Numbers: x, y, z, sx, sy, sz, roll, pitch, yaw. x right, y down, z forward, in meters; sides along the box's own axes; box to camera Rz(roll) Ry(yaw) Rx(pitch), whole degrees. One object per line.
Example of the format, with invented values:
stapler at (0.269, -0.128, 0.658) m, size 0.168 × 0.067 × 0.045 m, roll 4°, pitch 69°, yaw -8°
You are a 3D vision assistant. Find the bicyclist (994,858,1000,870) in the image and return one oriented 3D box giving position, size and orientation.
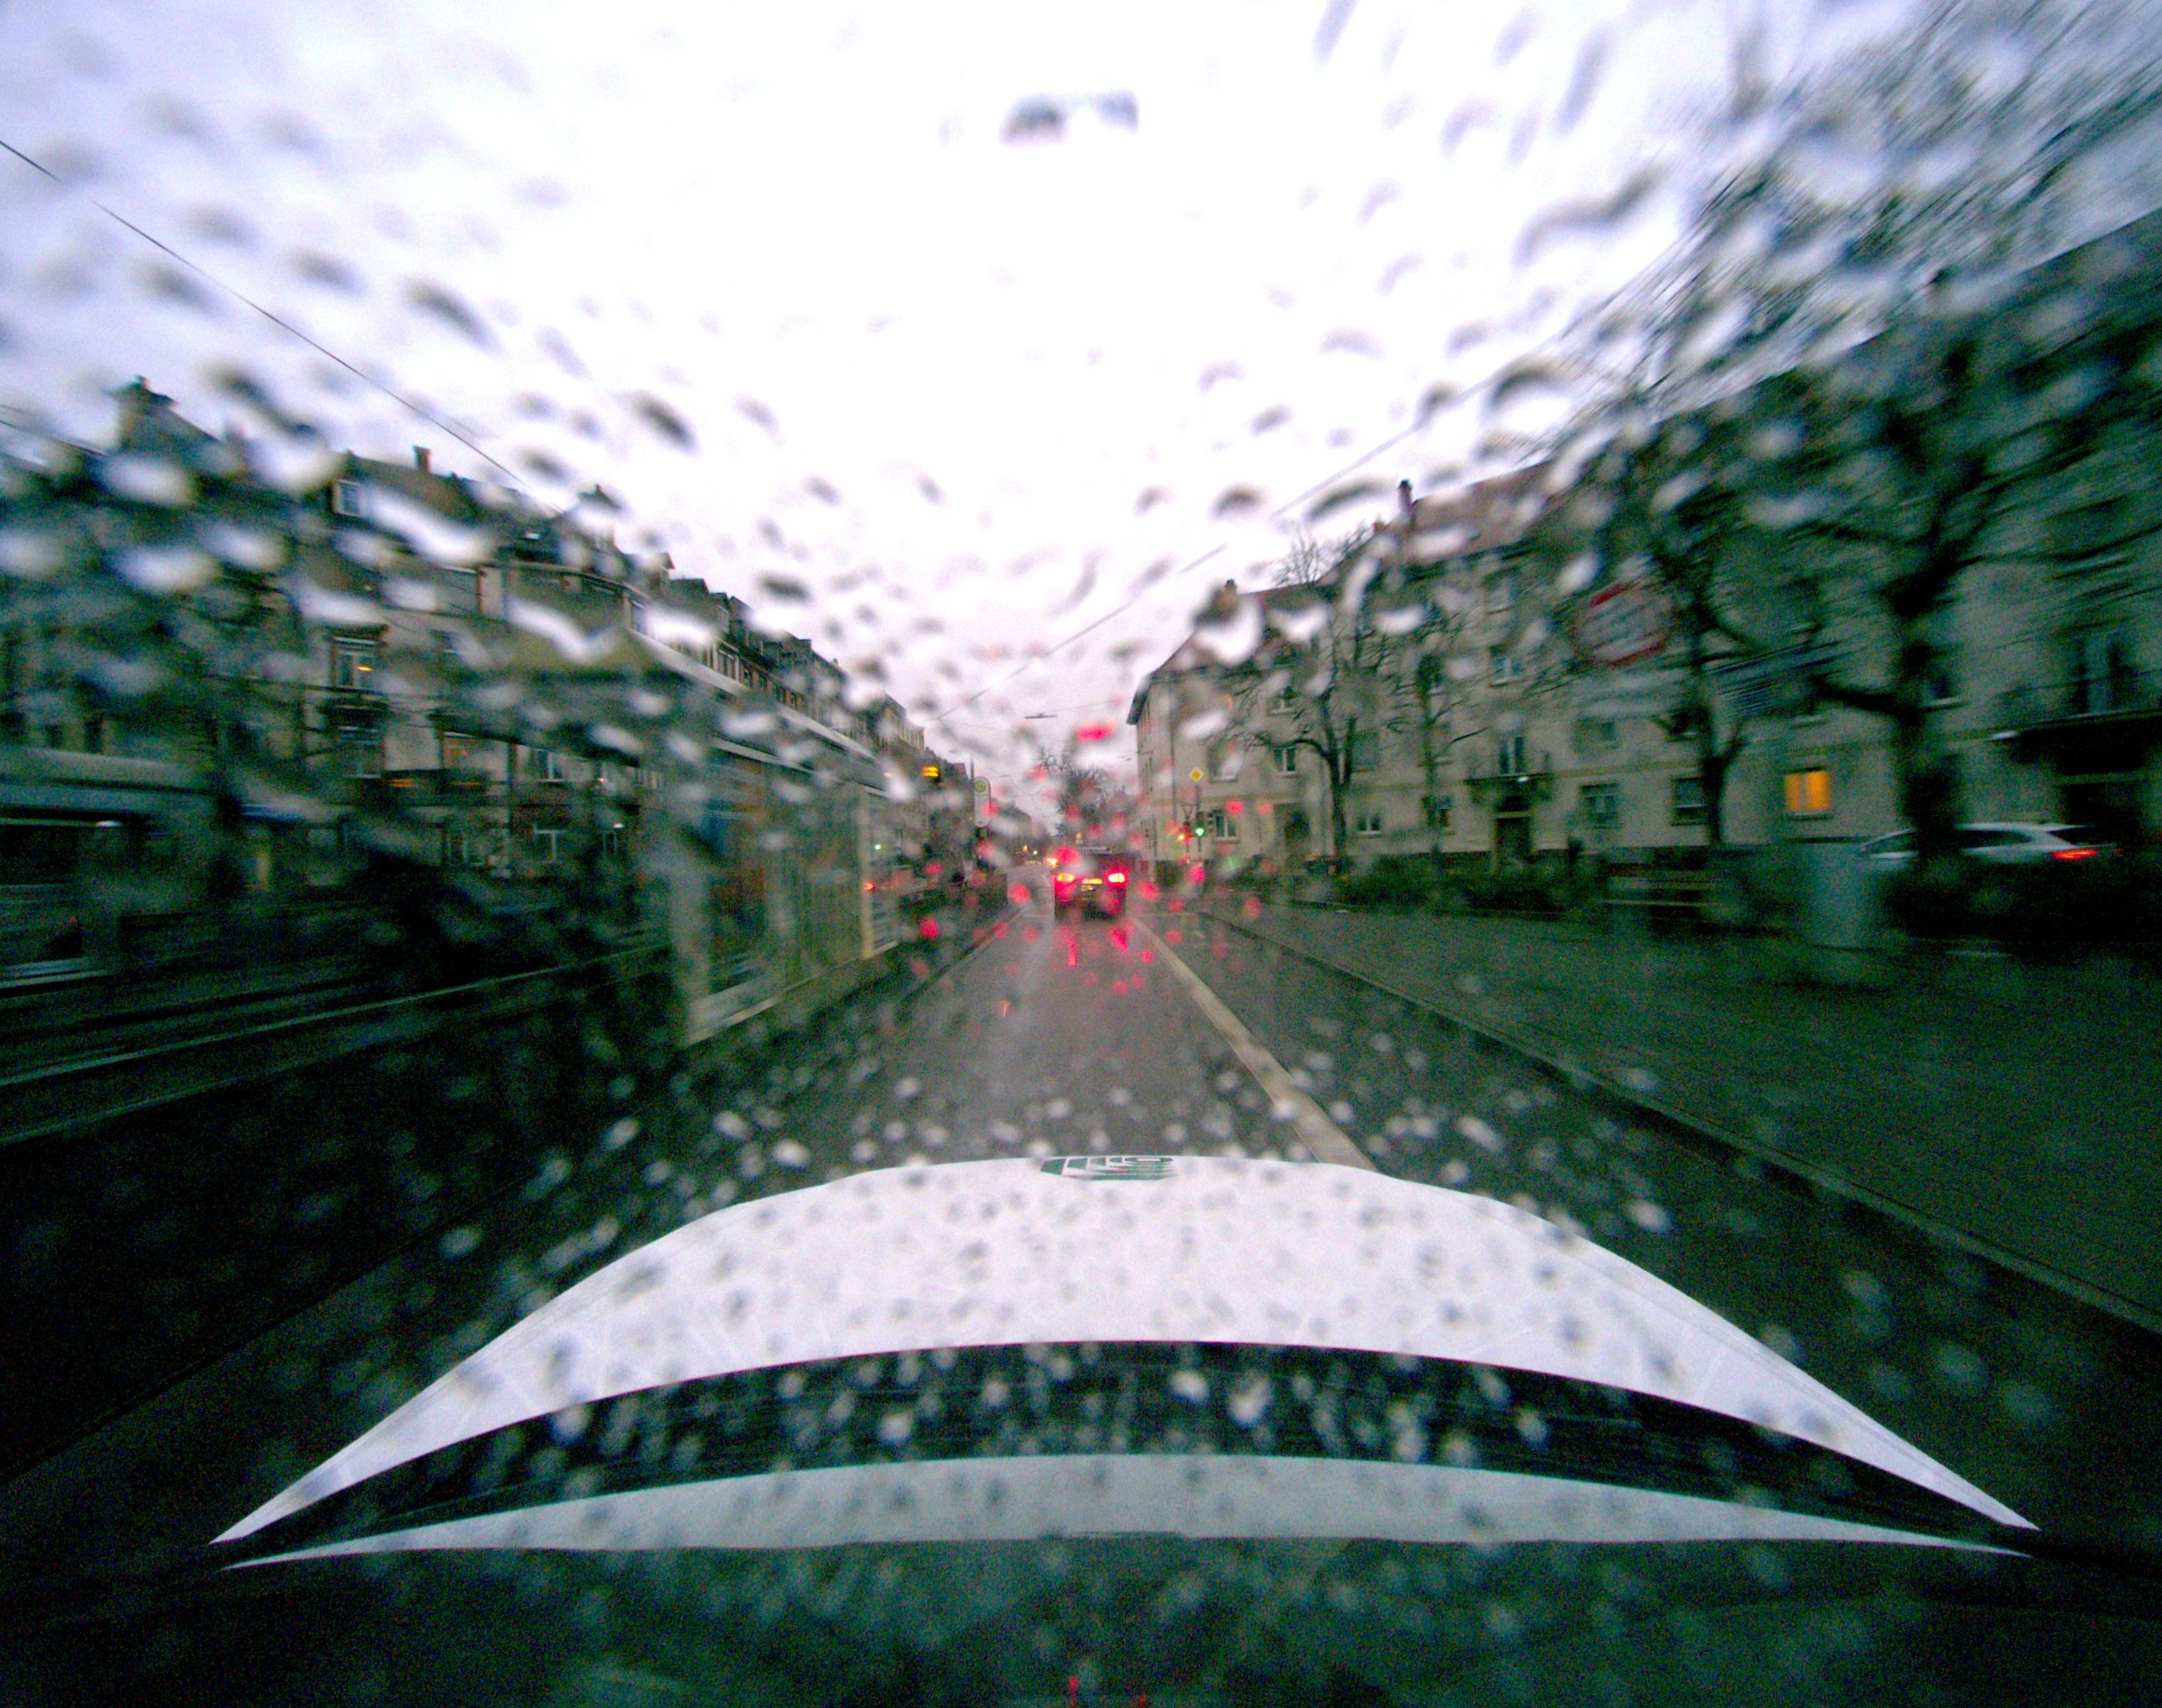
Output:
bicyclist at (-11.588, 1.373, 112.191) m, size 0.681 × 1.616 × 0.766 m, roll -1°, pitch -1°, yaw 1°

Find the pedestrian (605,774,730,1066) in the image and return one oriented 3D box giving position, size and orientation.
pedestrian at (-2.952, 0.453, 5.857) m, size 0.555 × 1.987 × 0.571 m, roll 1°, pitch -1°, yaw 1°

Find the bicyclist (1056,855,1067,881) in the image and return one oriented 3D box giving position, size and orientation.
bicyclist at (-1.343, 0.936, 55.994) m, size 0.728 × 1.736 × 0.766 m, roll -1°, pitch -1°, yaw 1°

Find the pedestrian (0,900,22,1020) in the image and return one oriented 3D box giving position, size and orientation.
pedestrian at (-11.415, 1.086, 8.251) m, size 0.650 × 1.218 × 0.517 m, roll 1°, pitch -1°, yaw -1°

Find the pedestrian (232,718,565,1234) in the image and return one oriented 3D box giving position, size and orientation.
pedestrian at (-2.792, 0.464, 3.404) m, size 0.850 × 1.956 × 0.571 m, roll 1°, pitch -1°, yaw 0°

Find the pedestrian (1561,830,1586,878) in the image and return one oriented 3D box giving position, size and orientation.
pedestrian at (17.433, 0.003, 28.812) m, size 0.705 × 1.660 × 0.692 m, roll -2°, pitch 0°, yaw 32°

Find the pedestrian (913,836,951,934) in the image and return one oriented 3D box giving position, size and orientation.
pedestrian at (-2.805, 0.571, 15.355) m, size 0.555 × 1.808 × 0.571 m, roll 1°, pitch -1°, yaw 1°

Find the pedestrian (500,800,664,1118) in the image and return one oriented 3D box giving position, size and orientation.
pedestrian at (-2.899, 0.579, 4.778) m, size 0.555 × 1.741 × 0.571 m, roll 1°, pitch -1°, yaw 1°

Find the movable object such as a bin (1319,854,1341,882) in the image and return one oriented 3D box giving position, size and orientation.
movable object such as a bin at (10.157, 0.571, 33.199) m, size 0.692 × 1.120 × 0.542 m, roll 1°, pitch -1°, yaw 42°

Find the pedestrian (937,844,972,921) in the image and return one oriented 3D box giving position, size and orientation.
pedestrian at (-2.858, 0.629, 18.381) m, size 0.655 × 1.708 × 0.571 m, roll 1°, pitch -1°, yaw 0°

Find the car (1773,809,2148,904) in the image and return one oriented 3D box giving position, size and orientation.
car at (17.300, 0.090, 16.415) m, size 1.900 × 1.510 × 4.720 m, roll -5°, pitch 0°, yaw -20°

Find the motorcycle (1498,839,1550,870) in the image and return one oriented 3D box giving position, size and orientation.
motorcycle at (16.633, 0.038, 30.576) m, size 0.572 × 1.105 × 1.585 m, roll -5°, pitch 2°, yaw -36°

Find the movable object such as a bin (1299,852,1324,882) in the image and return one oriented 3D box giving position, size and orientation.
movable object such as a bin at (9.540, 0.531, 33.741) m, size 0.843 × 1.251 × 0.525 m, roll 1°, pitch -1°, yaw 42°

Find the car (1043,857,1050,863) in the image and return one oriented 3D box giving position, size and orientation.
car at (-10.739, 1.957, 255.364) m, size 1.917 × 1.720 × 3.999 m, roll -2°, pitch 0°, yaw 0°

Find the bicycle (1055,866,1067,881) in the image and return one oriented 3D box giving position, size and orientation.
bicycle at (-1.340, 1.337, 55.979) m, size 0.729 × 1.007 × 1.764 m, roll -1°, pitch 0°, yaw 1°

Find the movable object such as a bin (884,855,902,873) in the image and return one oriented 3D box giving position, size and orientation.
movable object such as a bin at (-16.818, 0.901, 72.812) m, size 1.238 × 1.586 × 1.309 m, roll -1°, pitch 0°, yaw 5°

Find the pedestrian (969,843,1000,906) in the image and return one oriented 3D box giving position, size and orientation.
pedestrian at (-2.992, 0.618, 25.369) m, size 0.681 × 1.917 × 0.721 m, roll 1°, pitch -1°, yaw 17°

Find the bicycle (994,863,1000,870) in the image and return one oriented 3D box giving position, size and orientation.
bicycle at (-11.566, 1.684, 112.136) m, size 0.676 × 0.972 × 1.933 m, roll -1°, pitch 0°, yaw 1°

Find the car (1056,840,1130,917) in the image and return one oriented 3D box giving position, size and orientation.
car at (0.245, 0.619, 22.069) m, size 1.797 × 1.871 × 4.015 m, roll 1°, pitch 0°, yaw -2°
